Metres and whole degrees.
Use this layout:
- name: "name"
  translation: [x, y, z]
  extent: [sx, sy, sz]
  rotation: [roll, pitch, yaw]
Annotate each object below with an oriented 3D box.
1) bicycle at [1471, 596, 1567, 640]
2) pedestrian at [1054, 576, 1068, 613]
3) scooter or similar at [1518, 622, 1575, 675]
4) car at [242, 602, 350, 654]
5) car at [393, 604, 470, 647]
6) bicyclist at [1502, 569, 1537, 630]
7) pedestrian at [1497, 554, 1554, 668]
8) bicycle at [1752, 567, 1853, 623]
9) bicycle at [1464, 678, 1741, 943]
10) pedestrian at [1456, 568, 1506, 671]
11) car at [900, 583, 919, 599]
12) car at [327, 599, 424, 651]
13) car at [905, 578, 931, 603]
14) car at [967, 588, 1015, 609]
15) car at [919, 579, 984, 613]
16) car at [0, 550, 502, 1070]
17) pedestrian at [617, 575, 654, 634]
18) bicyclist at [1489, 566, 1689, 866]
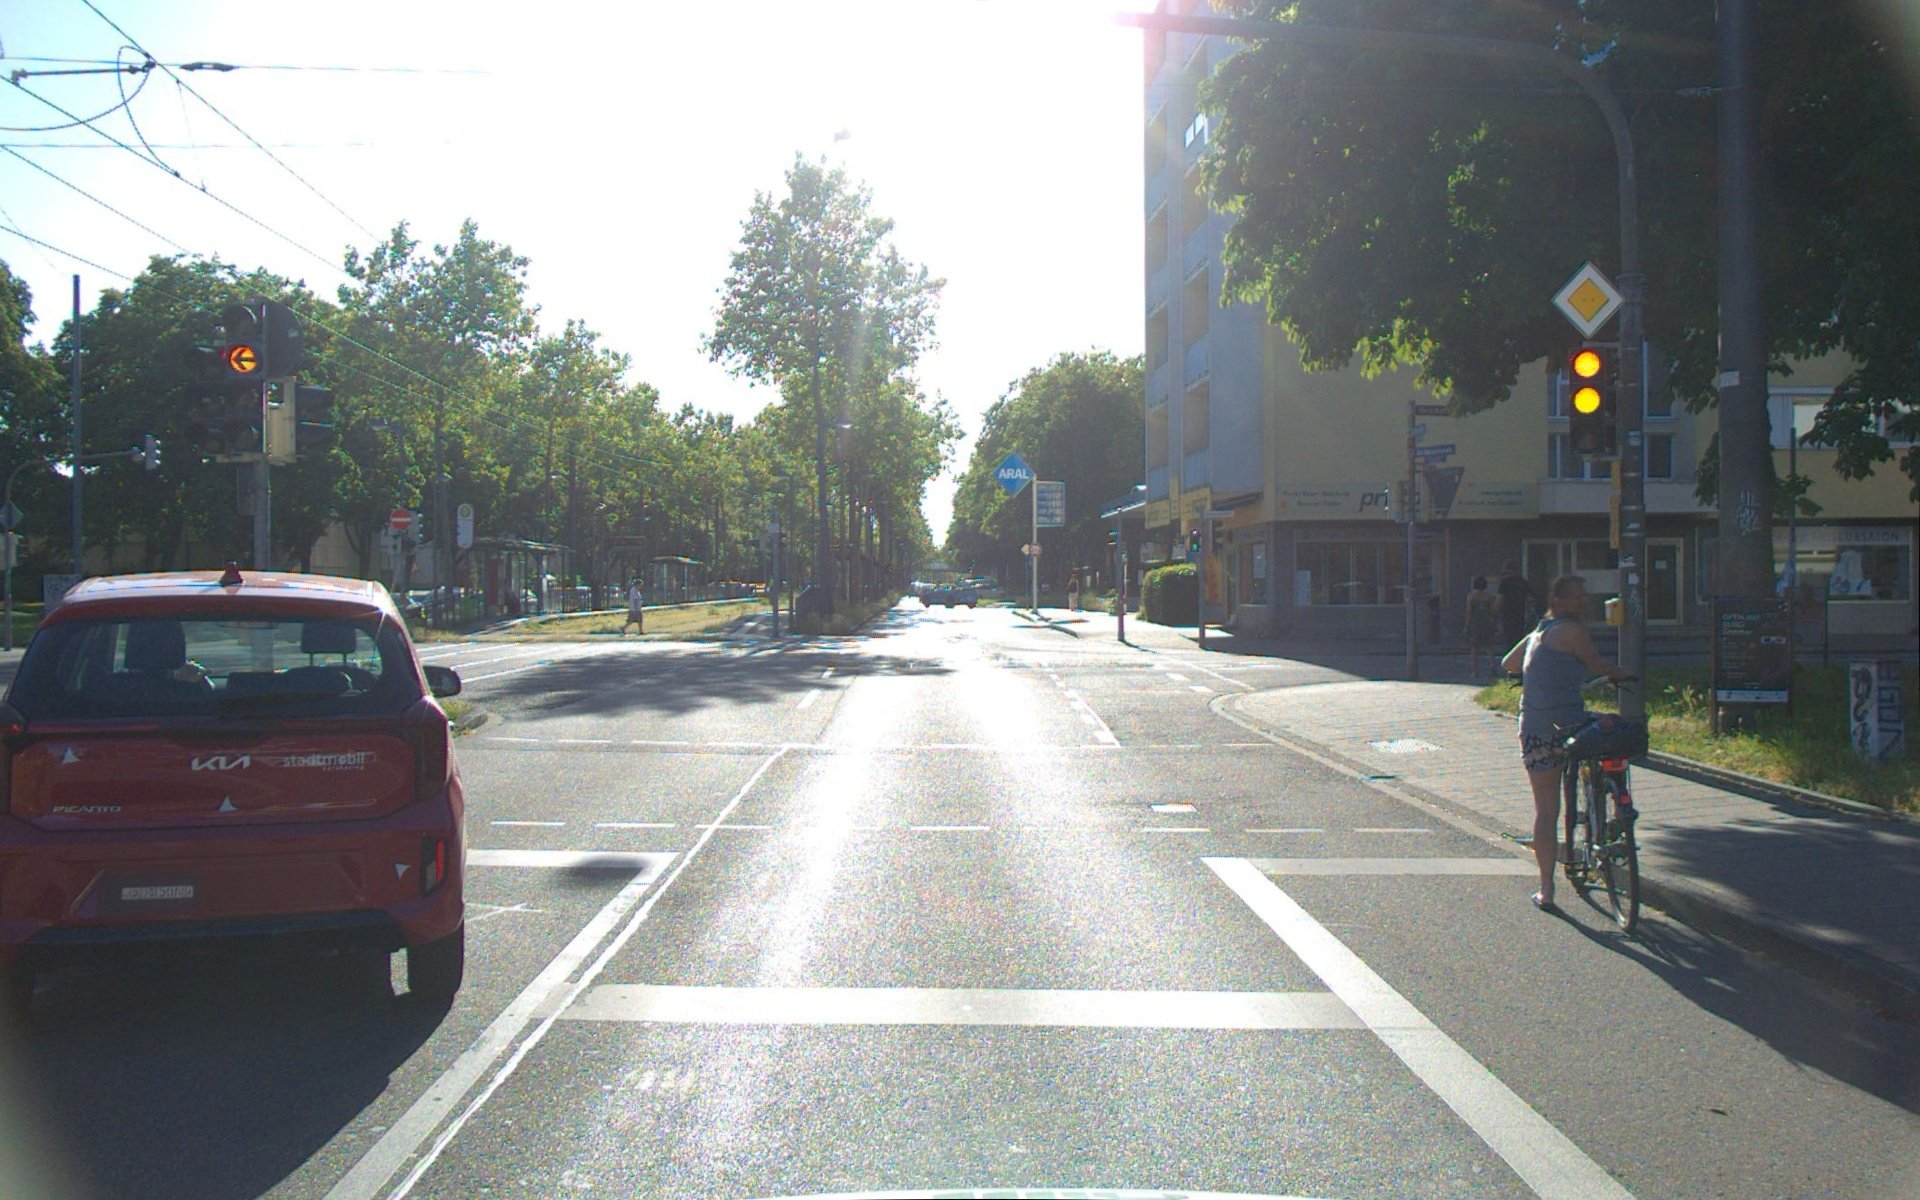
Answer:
- name: "bicycle"
  translation: [14.008, 0.442, 41.518]
  extent: [2.204, 1.004, 0.790]
  rotation: [1, 5, 14]
- name: "pedestrian"
  translation: [4.923, -0.280, 80.645]
  extent: [0.562, 1.778, 0.506]
  rotation: [2, 0, -2]
- name: "scooter or similar"
  translation: [8.841, 0.729, 24.937]
  extent: [0.586, 0.750, 0.681]
  rotation: [2, 0, -2]
- name: "car"
  translation: [-21.495, 0.877, 53.717]
  extent: [1.770, 1.560, 4.360]
  rotation: [-1, 0, -1]
- name: "car"
  translation: [-19.110, 0.898, 59.936]
  extent: [1.534, 1.426, 3.914]
  rotation: [2, 0, -1]
- name: "bicyclist"
  translation: [14.033, -0.020, 41.502]
  extent: [0.752, 1.496, 0.899]
  rotation: [-1, 1, 16]
- name: "pedestrian"
  translation: [8.710, 0.163, 25.497]
  extent: [0.714, 1.711, 0.533]
  rotation: [2, 0, 11]
- name: "bicycle"
  translation: [22.681, -0.141, 44.543]
  extent: [2.420, 1.424, 0.608]
  rotation: [2, 0, -2]
- name: "bicycle"
  translation: [2.977, 0.929, 7.860]
  extent: [0.634, 0.989, 1.804]
  rotation: [2, 0, 2]
- name: "pedestrian"
  translation: [7.980, 0.291, 25.360]
  extent: [0.633, 1.549, 0.496]
  rotation: [2, 0, 11]
- name: "car"
  translation: [-5.346, -0.982, 174.961]
  extent: [1.856, 1.639, 4.498]
  rotation: [2, 0, -2]
- name: "car"
  translation: [-18.956, 0.774, 53.819]
  extent: [1.653, 1.560, 4.360]
  rotation: [-1, 1, -1]
- name: "car"
  translation: [-3.388, -0.794, 133.539]
  extent: [1.929, 1.892, 3.998]
  rotation: [2, 0, -3]
- name: "car"
  translation: [2.820, -0.120, 149.440]
  extent: [3.944, 1.780, 1.738]
  rotation: [2, 0, -30]
- name: "car"
  translation: [-0.554, -0.261, 100.683]
  extent: [1.989, 1.892, 3.950]
  rotation: [2, 1, -36]
- name: "car"
  translation: [-2.935, 0.598, 6.814]
  extent: [1.670, 1.534, 3.676]
  rotation: [1, 1, -21]
- name: "pedestrian"
  translation: [-9.134, 0.128, 46.626]
  extent: [0.873, 1.634, 0.613]
  rotation: [2, 0, -1]
- name: "bicyclist"
  translation: [2.989, 0.524, 7.927]
  extent: [0.625, 1.346, 0.803]
  rotation: [2, 0, 1]
